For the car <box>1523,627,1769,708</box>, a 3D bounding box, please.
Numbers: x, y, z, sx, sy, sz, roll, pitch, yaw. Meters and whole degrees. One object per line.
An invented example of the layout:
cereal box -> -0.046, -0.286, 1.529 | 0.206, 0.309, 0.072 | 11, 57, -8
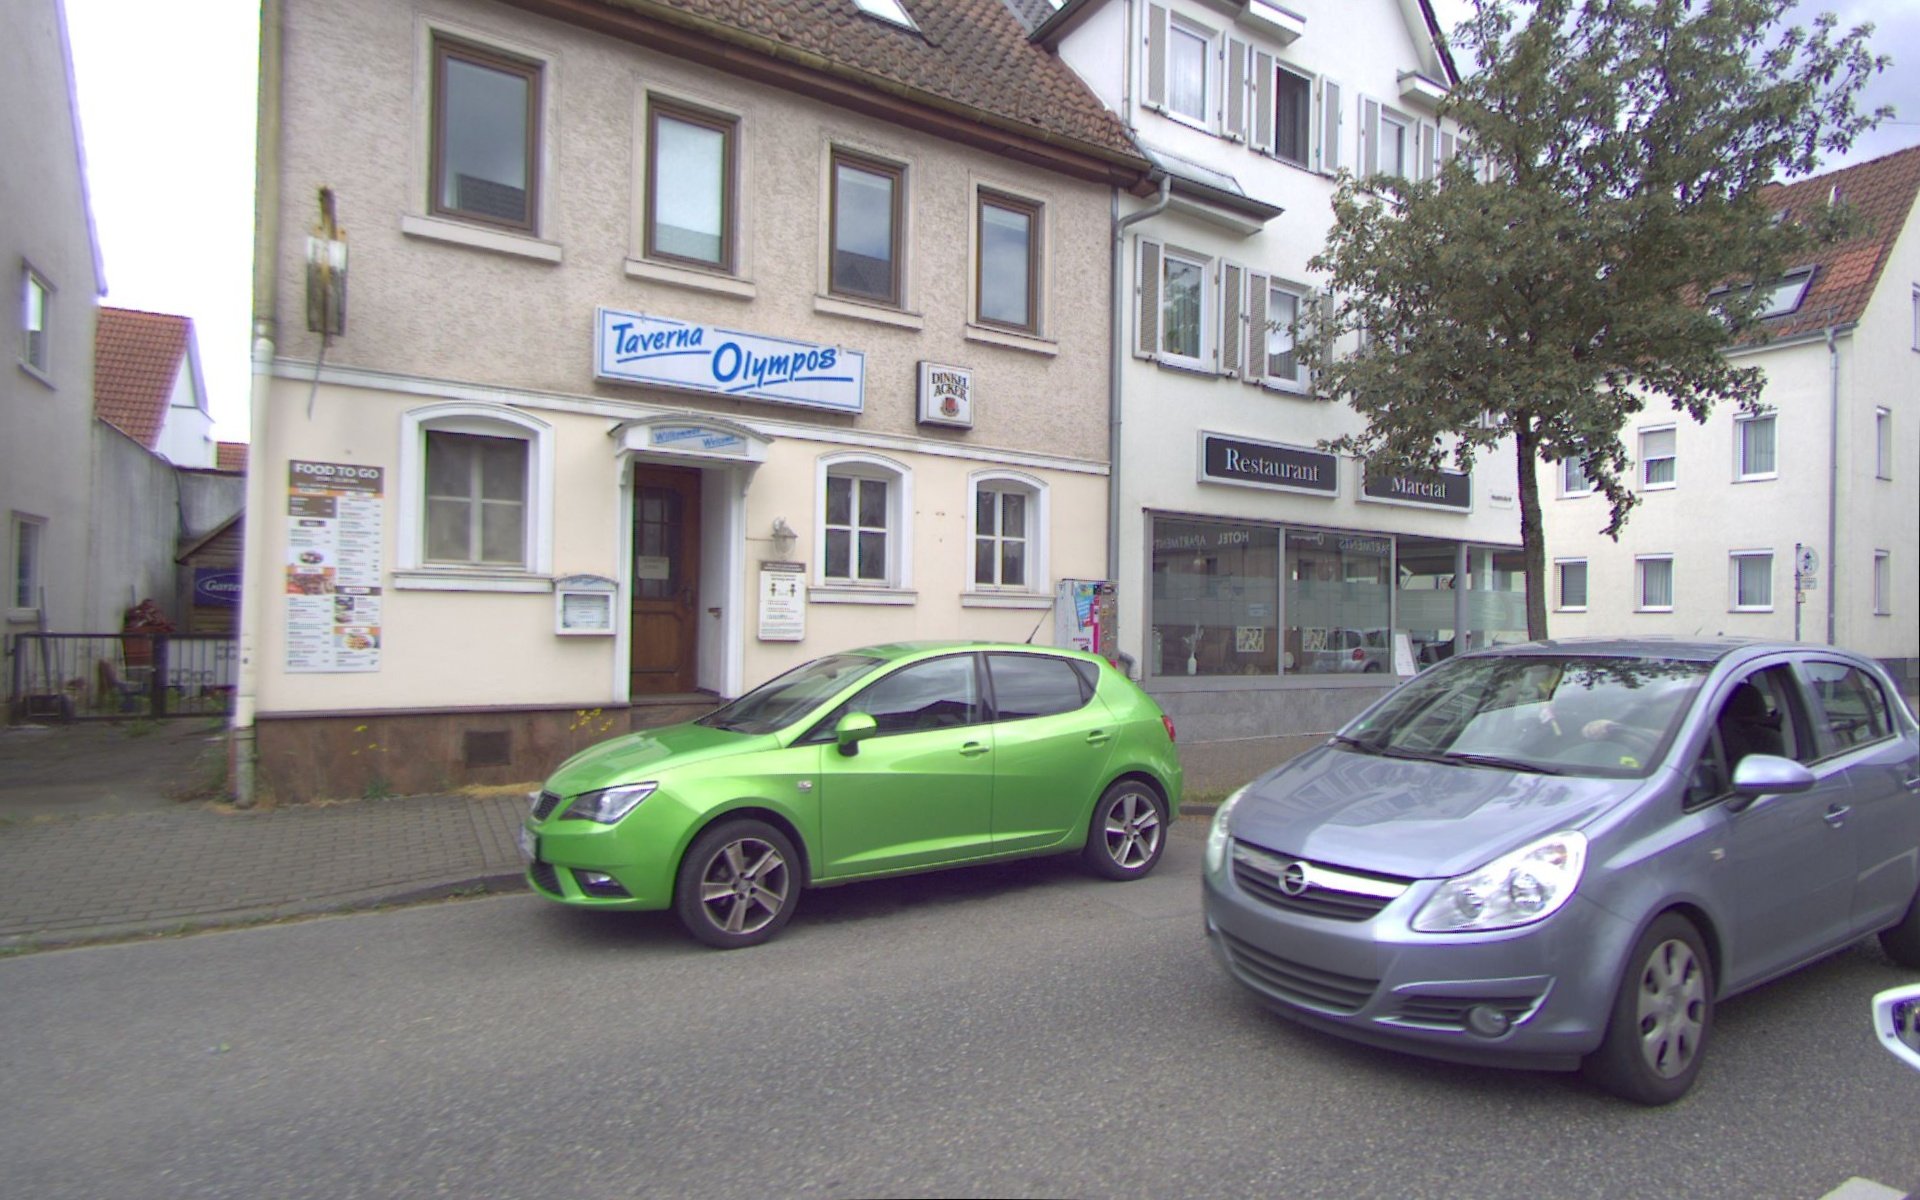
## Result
car -> 14.519, 1.429, 21.497 | 1.715, 1.554, 3.969 | 1, -4, -30

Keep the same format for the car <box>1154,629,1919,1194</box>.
car -> 2.898, 0.890, 4.425 | 3.976, 1.466, 1.673 | 2, -3, -33

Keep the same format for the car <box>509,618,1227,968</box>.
car -> -0.419, 0.887, 6.023 | 3.976, 1.466, 1.673 | 2, -3, -33
